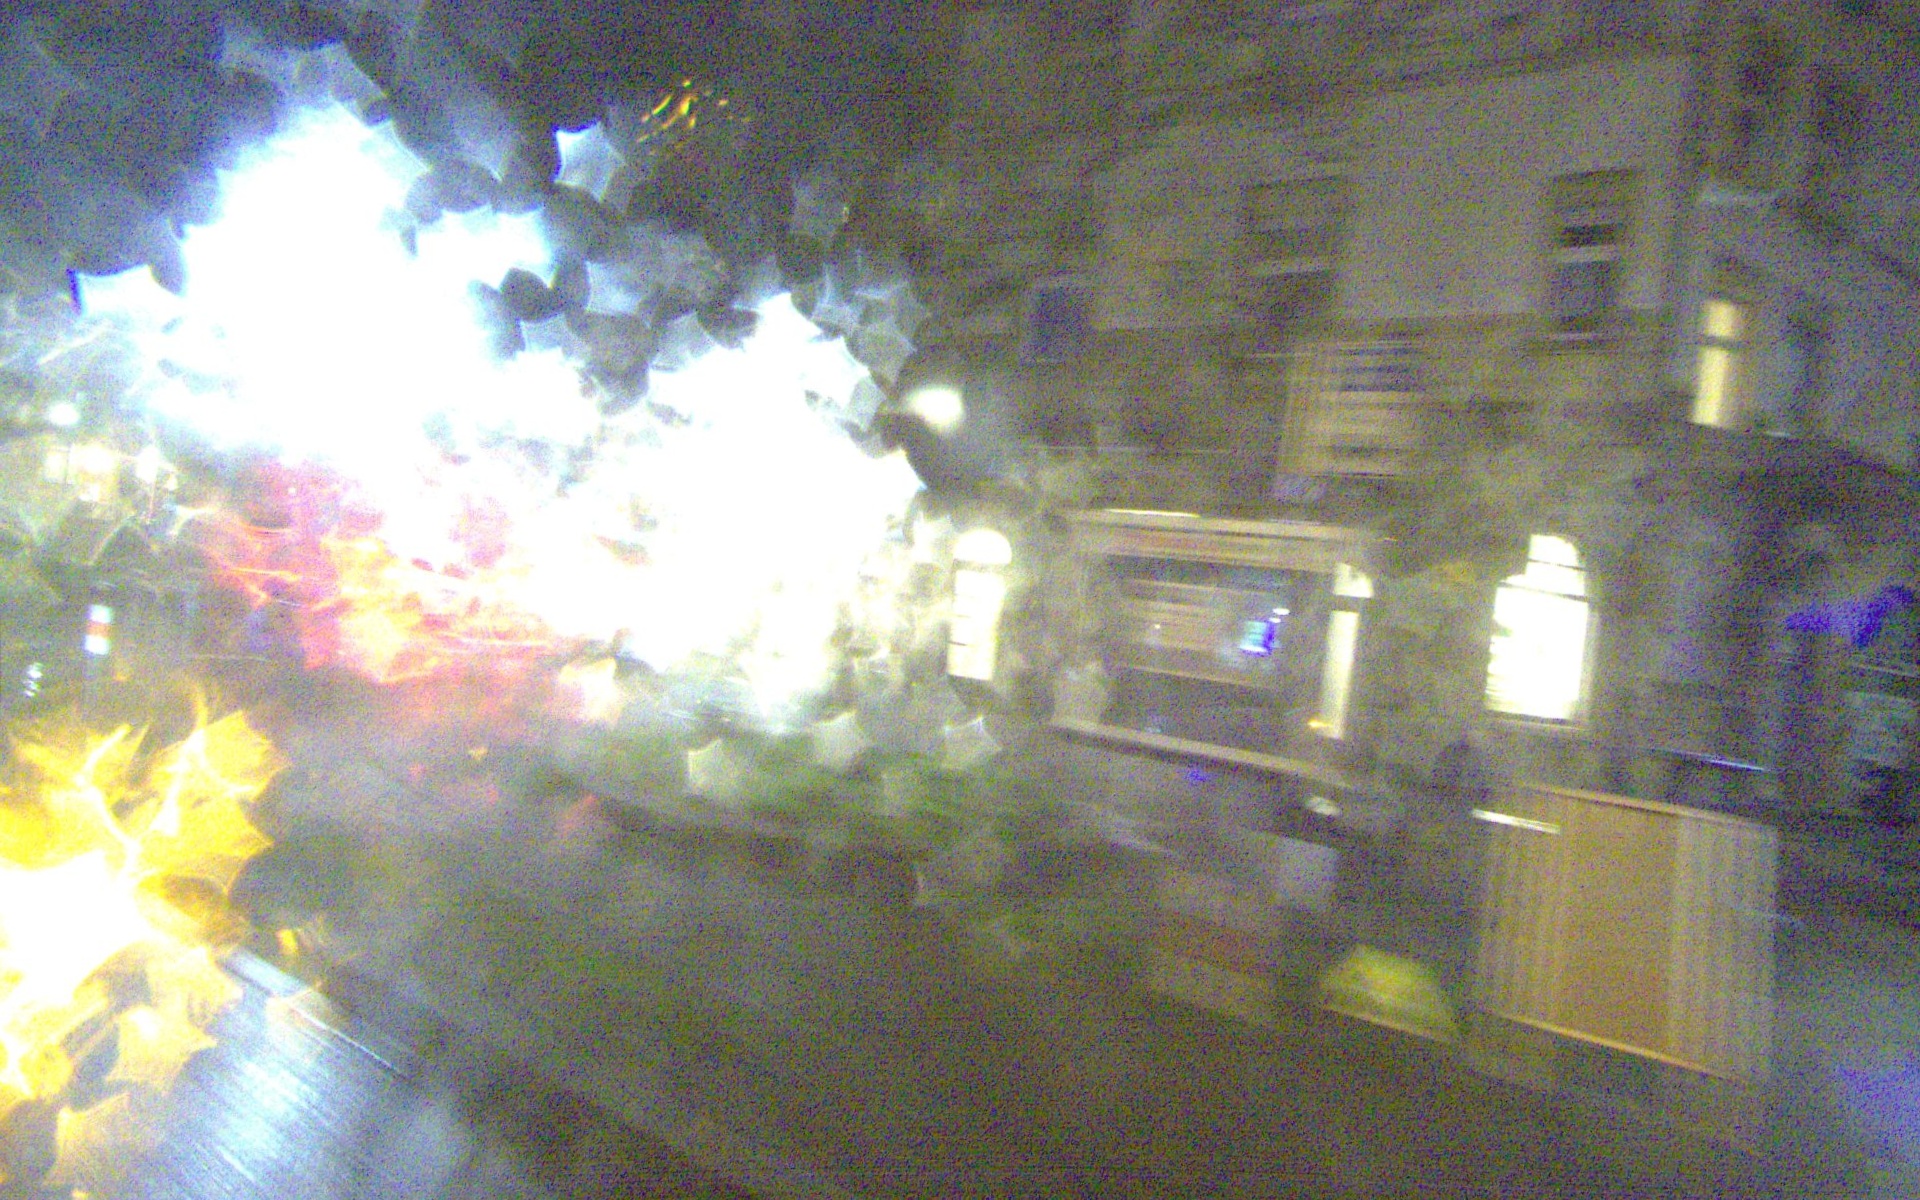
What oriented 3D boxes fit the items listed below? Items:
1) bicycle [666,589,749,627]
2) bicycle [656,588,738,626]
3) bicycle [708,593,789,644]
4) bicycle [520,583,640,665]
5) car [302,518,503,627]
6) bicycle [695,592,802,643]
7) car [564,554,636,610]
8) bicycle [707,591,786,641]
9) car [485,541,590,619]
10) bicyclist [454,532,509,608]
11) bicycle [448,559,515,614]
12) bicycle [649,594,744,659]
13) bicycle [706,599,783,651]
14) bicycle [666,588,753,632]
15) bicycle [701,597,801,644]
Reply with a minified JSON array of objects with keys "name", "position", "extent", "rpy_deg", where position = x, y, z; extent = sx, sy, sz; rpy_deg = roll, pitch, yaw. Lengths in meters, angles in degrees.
[{"name":"bicycle","position":[-9.050,0.305,36.136],"extent":[2.751,1.039,0.718],"rpy_deg":[8,0,-35]},{"name":"bicycle","position":[-9.727,0.265,37.238],"extent":[2.747,1.039,0.719],"rpy_deg":[8,0,-31]},{"name":"bicycle","position":[-5.479,0.482,26.136],"extent":[1.903,1.072,0.450],"rpy_deg":[7,1,-8]},{"name":"bicycle","position":[-6.022,0.378,15.982],"extent":[1.633,1.073,0.450],"rpy_deg":[7,1,-3]},{"name":"car","position":[-10.784,-0.442,19.768],"extent":[1.704,1.631,3.466],"rpy_deg":[8,-3,3]},{"name":"bicycle","position":[-5.778,0.477,27.629],"extent":[2.728,1.039,0.724],"rpy_deg":[8,0,-7]},{"name":"car","position":[-13.812,-0.661,38.467],"extent":[1.977,1.747,3.976],"rpy_deg":[9,-3,-26]},{"name":"bicycle","position":[-5.654,0.422,26.708],"extent":[1.903,1.072,0.450],"rpy_deg":[7,1,-8]},{"name":"car","position":[-11.802,-0.481,28.366],"extent":[1.969,1.747,3.991],"rpy_deg":[8,-3,-14]},{"name":"bicyclist","position":[-11.577,-0.724,24.361],"extent":[0.785,1.694,0.707],"rpy_deg":[8,-2,-5]},{"name":"bicycle","position":[-11.651,-0.304,24.557],"extent":[0.763,1.161,1.716],"rpy_deg":[8,-2,-4]},{"name":"bicycle","position":[-5.165,0.519,19.785],"extent":[1.633,1.073,0.450],"rpy_deg":[7,1,-3]},{"name":"bicycle","position":[-5.311,0.605,24.843],"extent":[1.704,1.073,0.450],"rpy_deg":[7,1,-3]},{"name":"bicycle","position":[-8.586,0.343,34.636],"extent":[2.728,1.143,0.724],"rpy_deg":[8,0,-7]},{"name":"bicycle","position":[-6.137,0.606,29.699],"extent":[2.728,1.039,0.724],"rpy_deg":[8,0,-7]}]
